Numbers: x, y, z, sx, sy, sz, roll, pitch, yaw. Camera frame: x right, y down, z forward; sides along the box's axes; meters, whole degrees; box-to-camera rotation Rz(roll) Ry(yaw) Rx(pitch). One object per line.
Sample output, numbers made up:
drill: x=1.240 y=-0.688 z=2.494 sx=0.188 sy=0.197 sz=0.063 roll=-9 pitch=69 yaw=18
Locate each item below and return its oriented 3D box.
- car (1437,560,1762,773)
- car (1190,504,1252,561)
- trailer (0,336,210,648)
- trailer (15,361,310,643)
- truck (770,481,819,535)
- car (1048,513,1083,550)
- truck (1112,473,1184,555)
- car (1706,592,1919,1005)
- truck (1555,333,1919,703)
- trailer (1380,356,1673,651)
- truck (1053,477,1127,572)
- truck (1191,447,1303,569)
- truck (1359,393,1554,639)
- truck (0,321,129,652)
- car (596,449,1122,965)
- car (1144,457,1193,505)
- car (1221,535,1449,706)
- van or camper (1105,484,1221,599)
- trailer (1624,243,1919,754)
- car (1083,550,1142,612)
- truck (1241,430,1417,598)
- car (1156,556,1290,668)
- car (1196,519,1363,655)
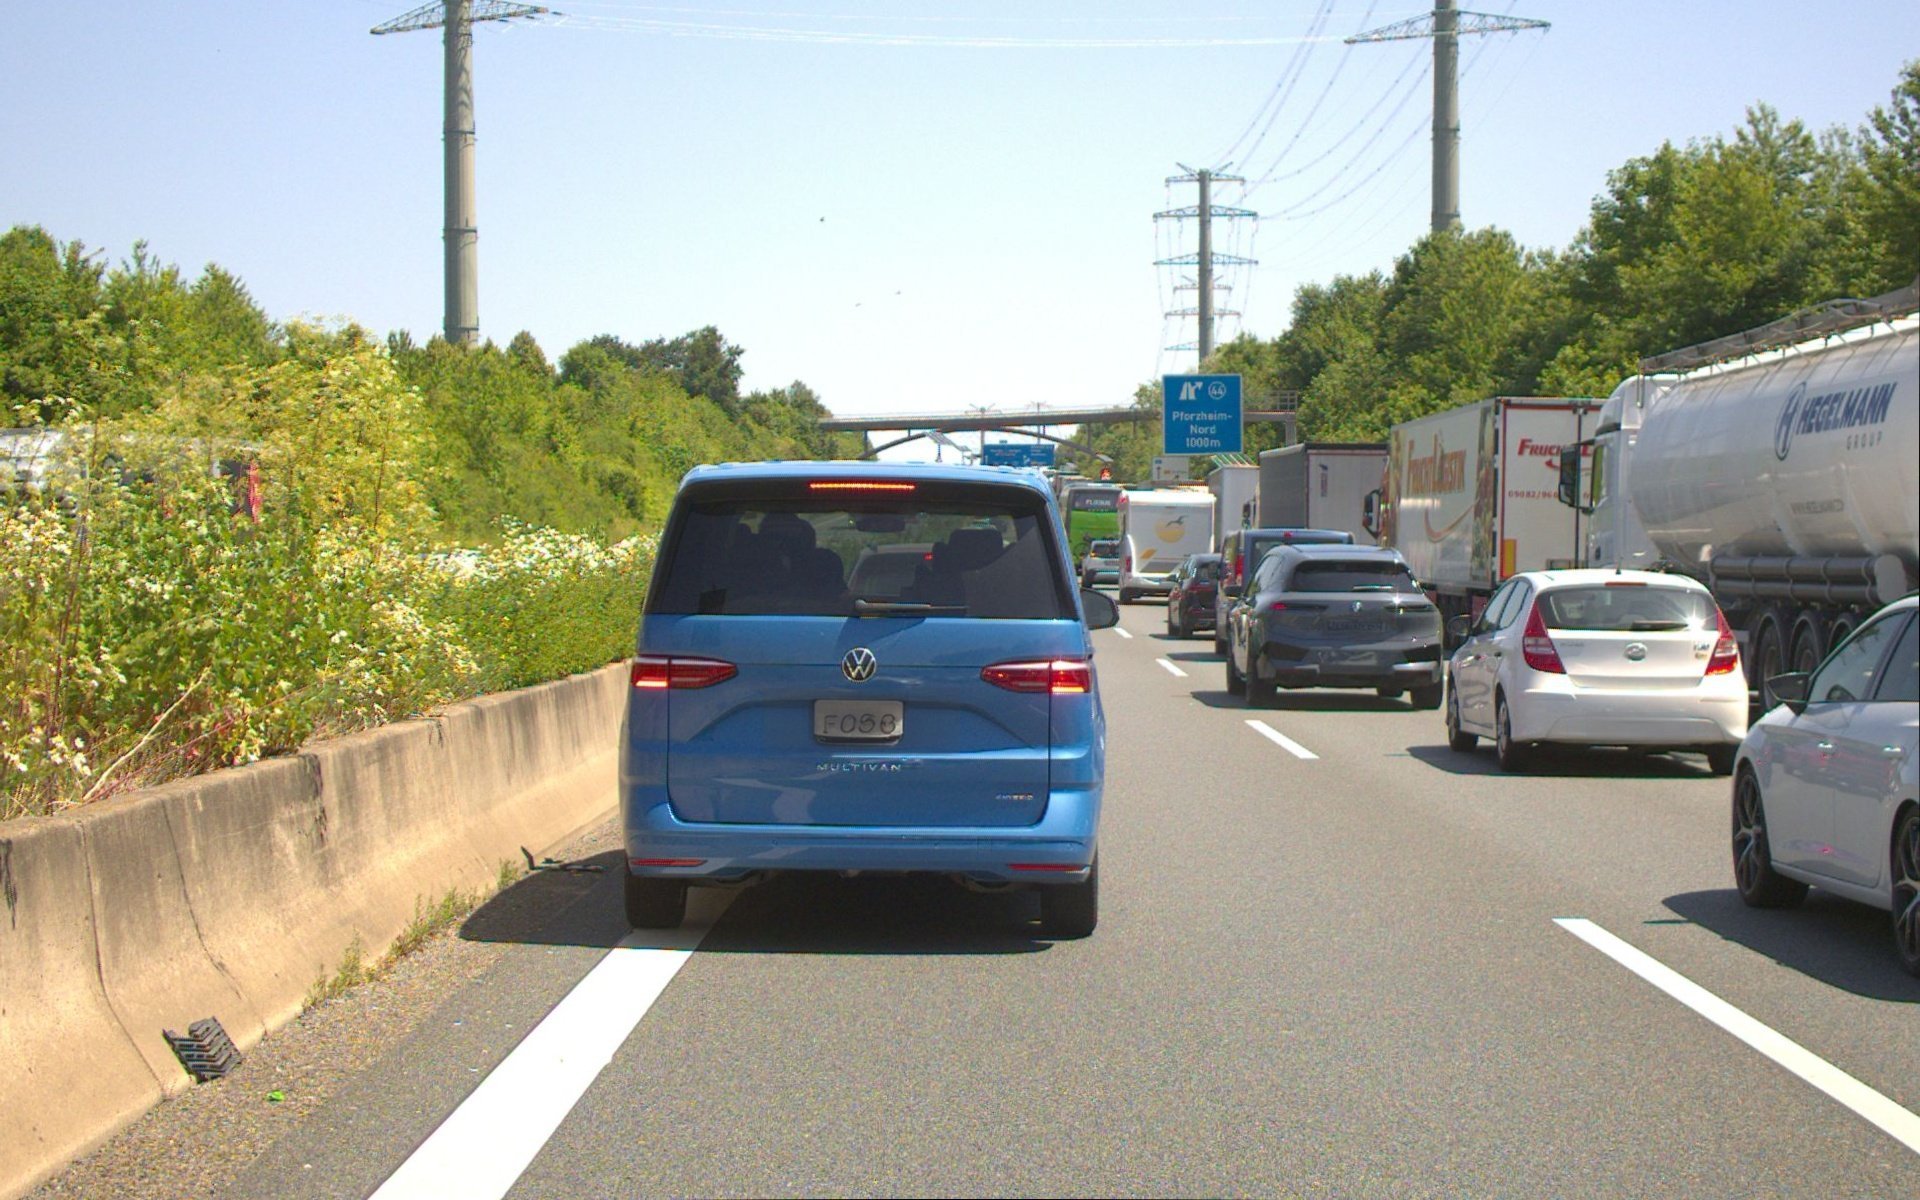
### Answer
car: x=4.767 y=0.470 z=26.138 sx=1.817 sy=1.480 sz=4.000 roll=-1 pitch=0 yaw=2
car: x=9.429 y=-2.410 z=124.327 sx=1.993 sy=2.007 sz=4.000 roll=0 pitch=0 yaw=1
trailer: x=-15.259 y=-1.754 z=58.834 sx=3.322 sy=5.030 sz=6.704 roll=0 pitch=0 yaw=0
trailer: x=-15.136 y=-1.767 z=66.157 sx=3.322 sy=5.030 sz=9.591 roll=0 pitch=0 yaw=1
truck: x=-12.250 y=-6.779 z=255.476 sx=2.911 sy=3.806 sz=11.944 roll=1 pitch=1 yaw=0
car: x=6.302 y=-4.096 z=206.158 sx=1.993 sy=2.118 sz=4.000 roll=0 pitch=0 yaw=0
truck: x=10.791 y=-4.894 z=197.979 sx=3.566 sy=4.502 sz=10.293 roll=0 pitch=0 yaw=0
car: x=4.238 y=0.686 z=13.483 sx=1.747 sy=1.438 sz=4.313 roll=-1 pitch=0 yaw=1
truck: x=8.566 y=-0.882 z=38.552 sx=2.793 sy=3.823 sz=5.572 roll=0 pitch=1 yaw=0
trailer: x=9.353 y=-1.532 z=58.299 sx=2.912 sy=4.453 sz=12.154 roll=0 pitch=1 yaw=0
truck: x=5.318 y=-3.050 z=142.206 sx=2.895 sy=3.754 sz=10.140 roll=0 pitch=0 yaw=1
truck: x=9.415 y=-2.945 z=114.086 sx=2.895 sy=3.754 sz=13.344 roll=0 pitch=0 yaw=1
truck: x=9.333 y=-1.556 z=65.078 sx=2.912 sy=4.453 sz=5.143 roll=0 pitch=0 yaw=0
truck: x=-15.293 y=-1.749 z=54.342 sx=3.302 sy=5.033 sz=4.033 roll=0 pitch=1 yaw=0
car: x=-0.360 y=0.366 z=14.774 sx=1.920 sy=1.880 sz=4.000 roll=1 pitch=1 yaw=1
car: x=9.318 y=-5.310 z=154.054 sx=1.993 sy=2.007 sz=4.000 roll=0 pitch=0 yaw=1
car: x=3.945 y=0.209 z=36.875 sx=1.999 sy=1.709 sz=4.625 roll=-1 pitch=0 yaw=1
van or camper: x=5.470 y=-1.549 z=93.610 sx=2.957 sy=3.012 sz=7.102 roll=0 pitch=0 yaw=2
trailer: x=8.572 y=-0.825 z=31.364 sx=2.761 sy=3.832 sz=11.486 roll=0 pitch=1 yaw=0
car: x=4.998 y=-0.615 z=113.149 sx=1.836 sy=1.992 sz=4.000 roll=-1 pitch=0 yaw=2
truck: x=8.910 y=-1.965 z=84.901 sx=3.006 sy=3.754 sz=15.712 roll=0 pitch=0 yaw=1
car: x=4.754 y=0.218 z=62.769 sx=1.923 sy=1.919 sz=4.236 roll=-1 pitch=0 yaw=-2
car: x=4.756 y=-0.178 z=51.747 sx=1.923 sy=1.919 sz=4.236 roll=-1 pitch=0 yaw=-2
